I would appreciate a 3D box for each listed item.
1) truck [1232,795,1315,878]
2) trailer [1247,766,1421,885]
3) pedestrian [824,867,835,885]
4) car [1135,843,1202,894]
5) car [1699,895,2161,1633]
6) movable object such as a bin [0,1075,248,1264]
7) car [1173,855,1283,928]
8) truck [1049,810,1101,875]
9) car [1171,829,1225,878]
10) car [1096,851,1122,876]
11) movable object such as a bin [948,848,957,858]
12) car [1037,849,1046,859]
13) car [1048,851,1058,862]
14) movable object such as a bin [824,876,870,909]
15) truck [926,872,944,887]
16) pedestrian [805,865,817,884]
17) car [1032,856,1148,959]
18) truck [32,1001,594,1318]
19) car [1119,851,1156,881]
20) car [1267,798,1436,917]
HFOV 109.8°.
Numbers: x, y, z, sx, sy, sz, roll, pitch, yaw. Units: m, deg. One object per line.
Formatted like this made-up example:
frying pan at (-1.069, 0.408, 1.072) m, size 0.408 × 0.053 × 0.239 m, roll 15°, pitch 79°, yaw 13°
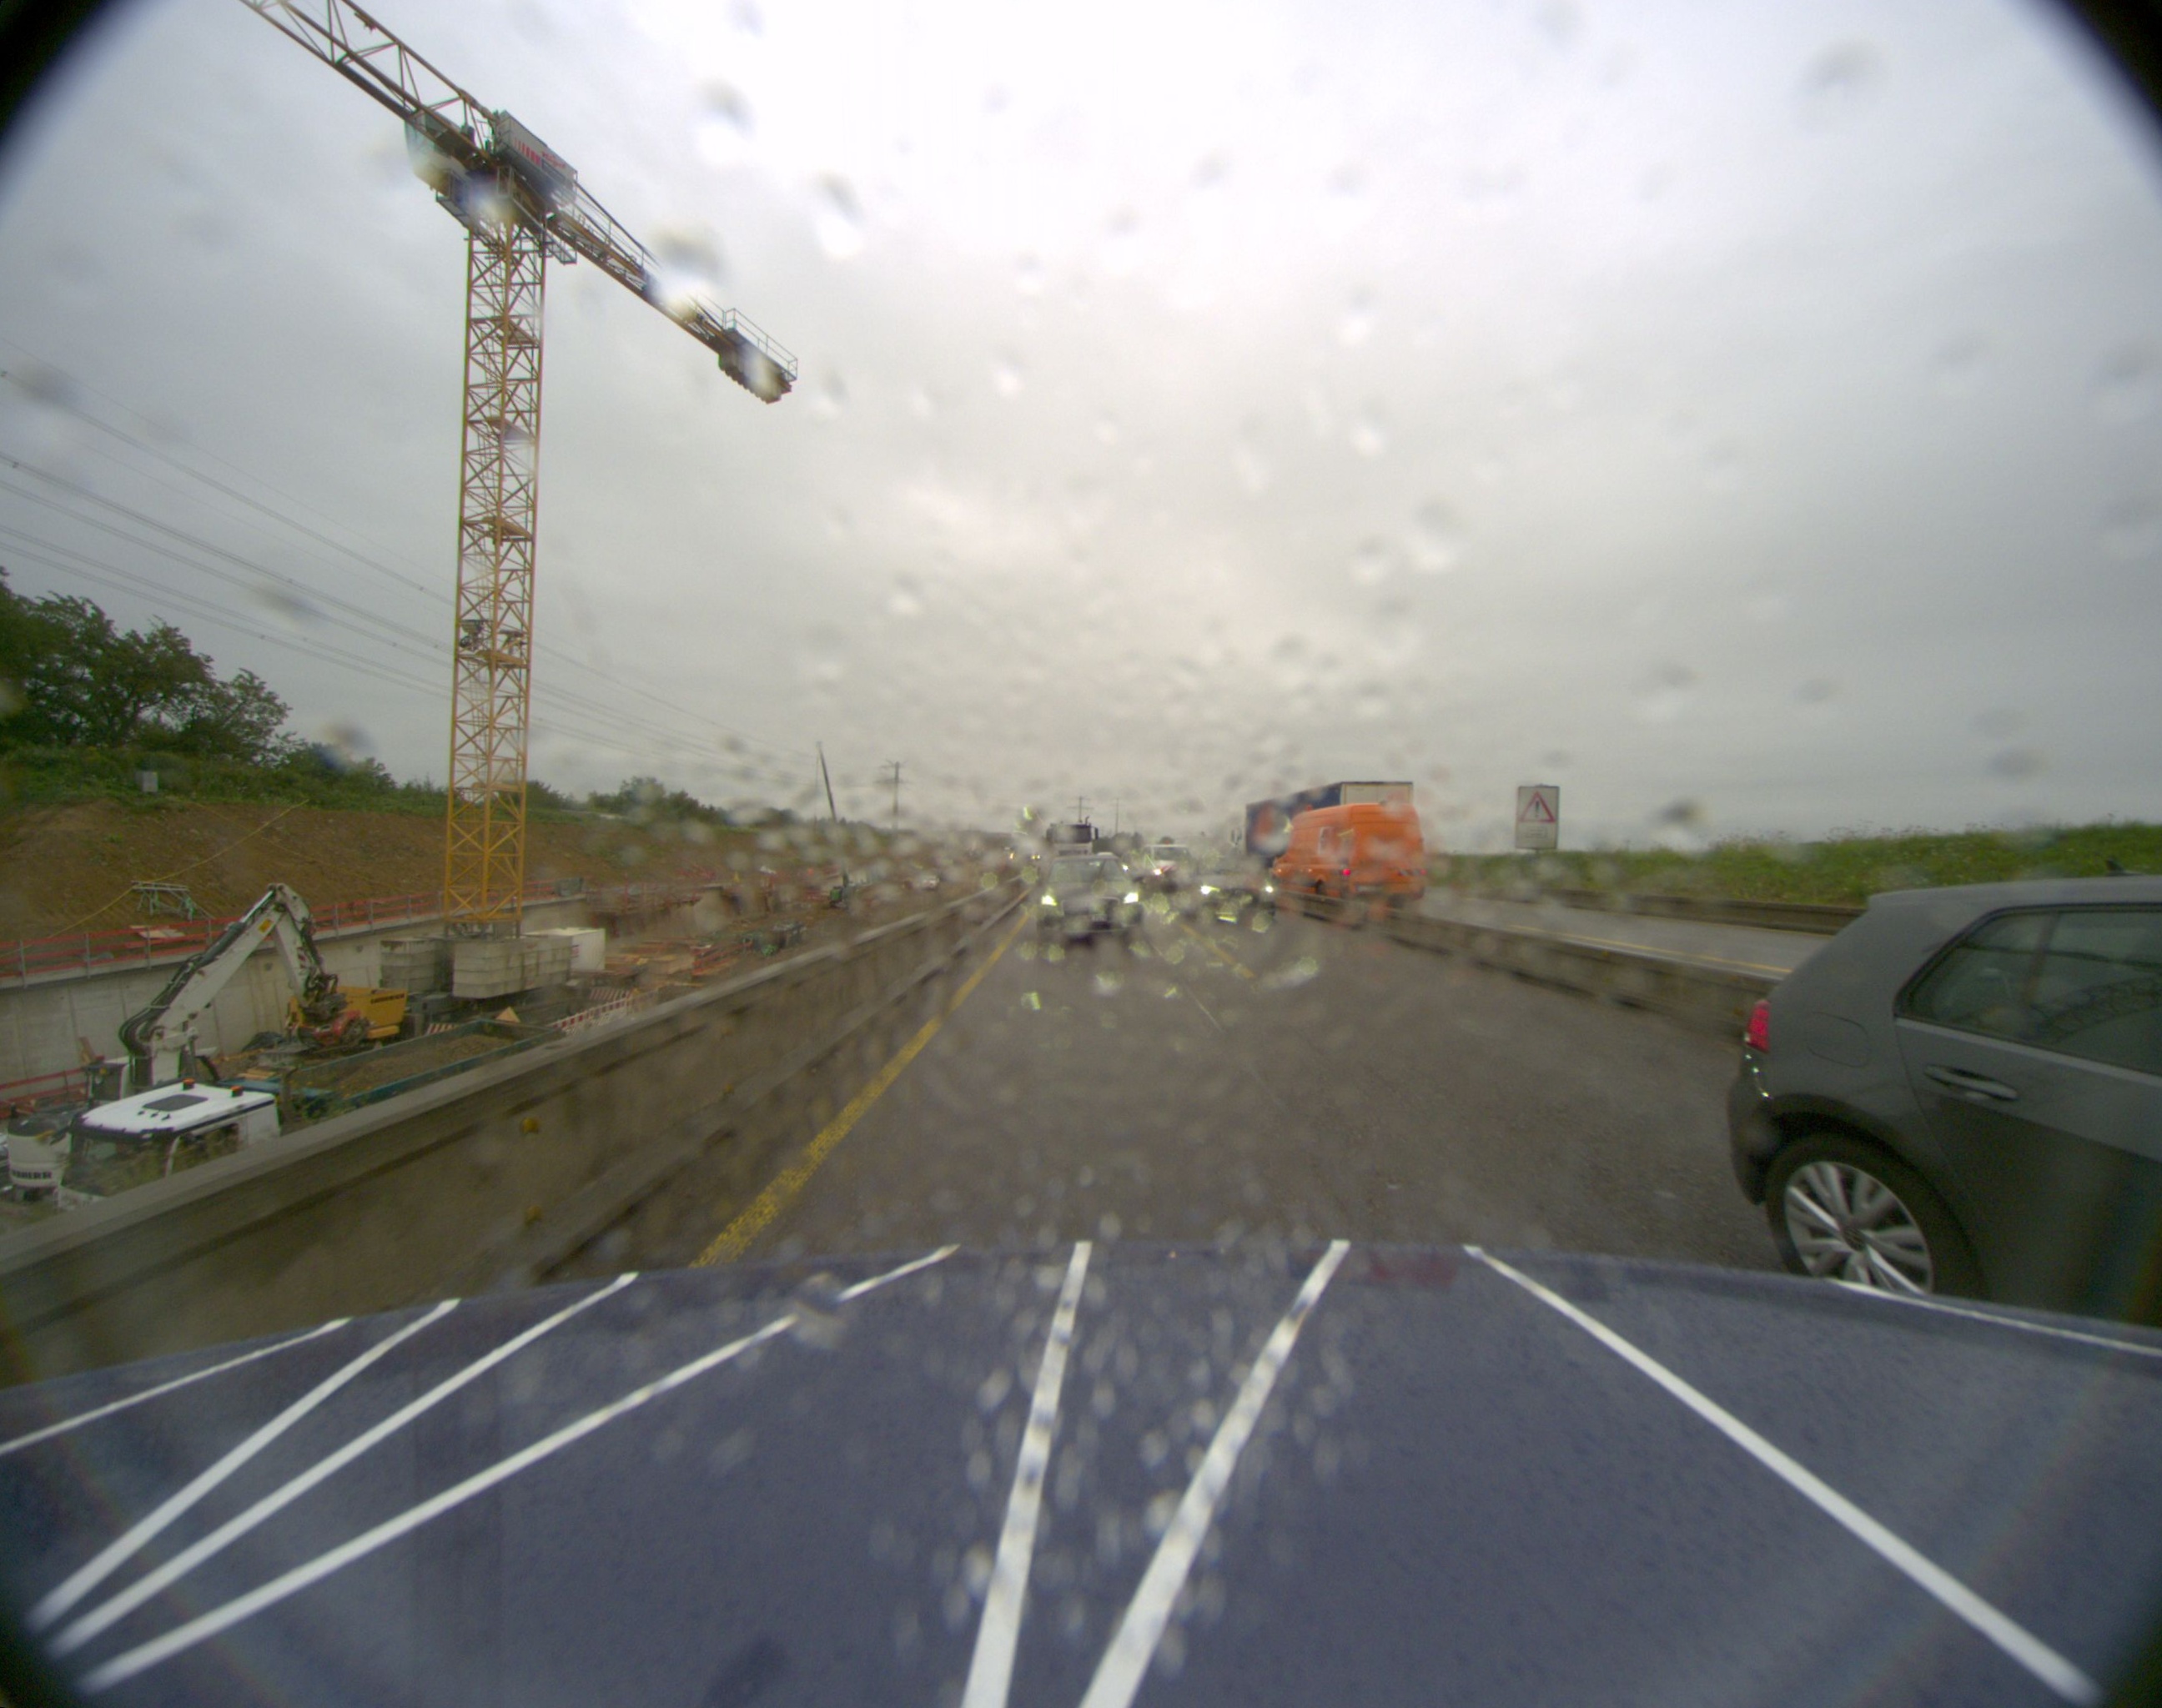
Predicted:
truck at (10.150, -0.857, 40.681) m, size 2.795 × 4.011 × 5.819 m, roll -2°, pitch 0°, yaw -1°
trailer at (10.239, -0.956, 33.120) m, size 2.787 × 4.011 × 13.740 m, roll -2°, pitch 0°, yaw -1°
pedestrian at (-33.268, 2.861, 100.590) m, size 0.917 × 2.219 × 1.005 m, roll -6°, pitch 3°, yaw 0°
car at (3.502, 0.509, 31.281) m, size 2.161 × 1.848 × 5.178 m, roll -2°, pitch 1°, yaw 1°
car at (3.045, 0.909, 0.703) m, size 1.653 × 1.414 × 4.080 m, roll -1°, pitch 1°, yaw 1°
movable object such as a bin at (-21.042, 6.567, 16.183) m, size 3.157 × 2.722 × 2.968 m, roll -2°, pitch 1°, yaw 0°
car at (3.348, 0.789, 18.077) m, size 1.799 × 1.389 × 4.268 m, roll -2°, pitch 1°, yaw 1°
truck at (-0.481, -0.755, 47.641) m, size 2.837 × 3.617 × 9.117 m, roll -2°, pitch 1°, yaw -2°
car at (6.845, -0.007, 45.183) m, size 2.011 × 2.638 × 6.883 m, roll -2°, pitch 0°, yaw -1°
car at (2.252, 0.772, 62.390) m, size 1.800 × 1.851 × 4.285 m, roll -2°, pitch 1°, yaw -2°
movable object such as a bin at (-39.474, -0.330, 233.258) m, size 2.253 × 2.704 × 3.996 m, roll -2°, pitch 1°, yaw -7°
car at (-8.503, -0.016, 162.353) m, size 1.800 × 1.851 × 4.285 m, roll -2°, pitch 1°, yaw -1°
car at (-5.158, 0.498, 142.167) m, size 1.800 × 1.851 × 4.285 m, roll -2°, pitch 1°, yaw -2°
movable object such as a bin at (-25.568, 4.187, 83.332) m, size 3.803 × 2.791 × 4.847 m, roll -1°, pitch 6°, yaw -5°
truck at (-20.895, 3.593, 109.096) m, size 1.767 × 1.860 × 5.783 m, roll 0°, pitch 1°, yaw -4°
pedestrian at (-34.236, 2.565, 96.354) m, size 0.918 × 2.234 × 1.005 m, roll -6°, pitch 3°, yaw -7°
car at (0.159, 0.856, 14.198) m, size 1.799 × 1.524 × 4.307 m, roll -2°, pitch 1°, yaw 1°
truck at (-16.236, 6.104, 17.582) m, size 2.704 × 3.483 × 8.954 m, roll -1°, pitch 1°, yaw 12°
car at (3.164, 0.636, 42.969) m, size 1.799 × 1.521 × 4.066 m, roll -2°, pitch 1°, yaw 1°
car at (6.827, 0.073, 20.280) m, size 2.059 × 2.562 × 7.020 m, roll -2°, pitch 0°, yaw 1°
